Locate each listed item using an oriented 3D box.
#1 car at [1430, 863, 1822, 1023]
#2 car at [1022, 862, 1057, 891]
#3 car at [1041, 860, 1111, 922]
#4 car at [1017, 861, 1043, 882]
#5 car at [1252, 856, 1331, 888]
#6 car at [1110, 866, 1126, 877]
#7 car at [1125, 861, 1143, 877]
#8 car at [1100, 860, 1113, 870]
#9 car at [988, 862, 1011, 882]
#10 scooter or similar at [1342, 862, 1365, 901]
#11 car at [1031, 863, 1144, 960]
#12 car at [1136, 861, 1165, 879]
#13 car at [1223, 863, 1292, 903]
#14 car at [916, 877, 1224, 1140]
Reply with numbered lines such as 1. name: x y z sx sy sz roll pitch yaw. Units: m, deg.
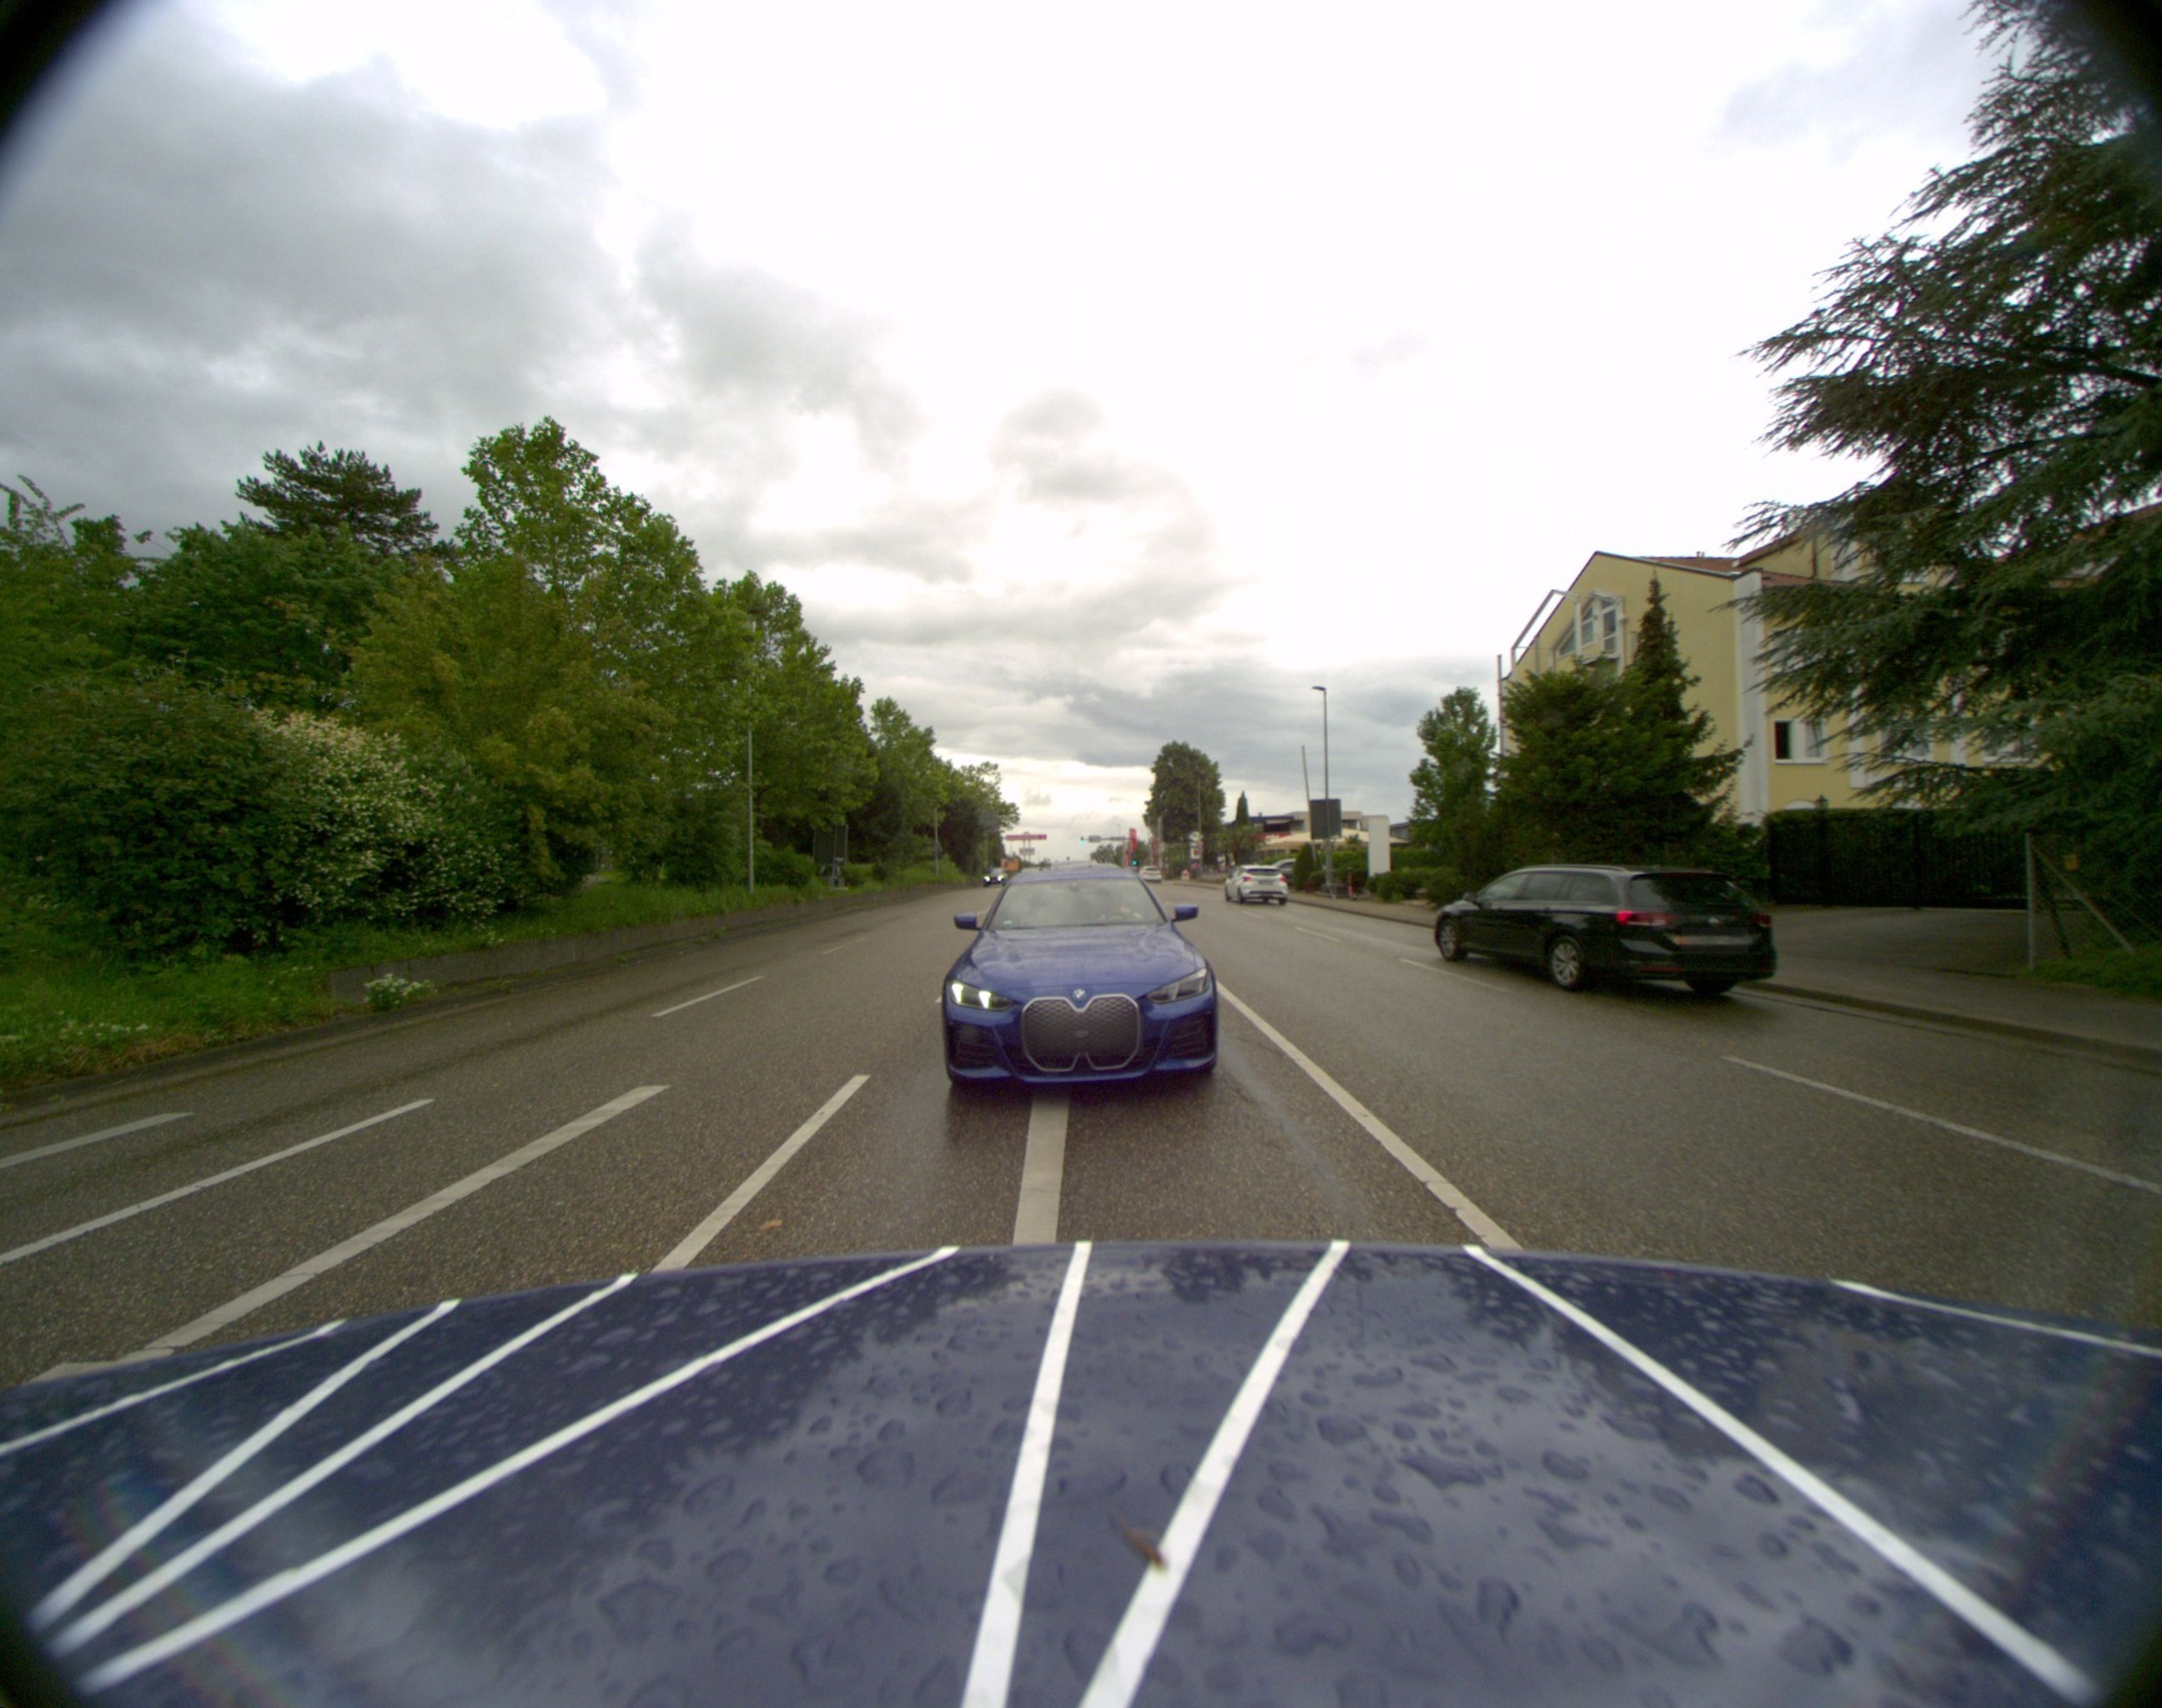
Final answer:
1. car: 6.369 0.900 9.686 1.780 1.493 4.471 0 0 0
2. car: -2.345 1.261 43.826 1.698 1.580 4.000 -1 0 1
3. car: -0.114 0.989 21.795 1.807 1.543 4.000 -1 0 0
4. car: -3.892 1.327 58.712 1.795 1.451 4.719 0 0 -1
5. car: 11.461 0.988 41.637 3.930 1.642 1.719 -1 0 6
6. car: 5.231 2.463 107.431 1.790 1.451 4.431 0 0 -3
7. car: 5.775 1.637 82.713 1.703 1.590 3.549 0 0 0
8. car: 4.016 1.776 121.432 1.700 1.467 3.781 -2 -2 -2
9. car: -7.178 1.545 67.220 1.705 1.613 3.840 -2 1 -2
10. scooter or similar: 10.032 0.990 28.005 0.505 1.398 1.882 0 0 11
11. car: 0.117 0.966 14.504 1.807 1.543 4.223 -1 -1 0
12. car: 6.018 1.379 66.578 1.973 1.446 4.308 0 0 -2
13. car: 6.716 1.071 29.291 1.750 1.389 3.801 0 0 -1
14. car: -0.063 0.979 6.609 1.803 1.399 4.272 0 0 0
